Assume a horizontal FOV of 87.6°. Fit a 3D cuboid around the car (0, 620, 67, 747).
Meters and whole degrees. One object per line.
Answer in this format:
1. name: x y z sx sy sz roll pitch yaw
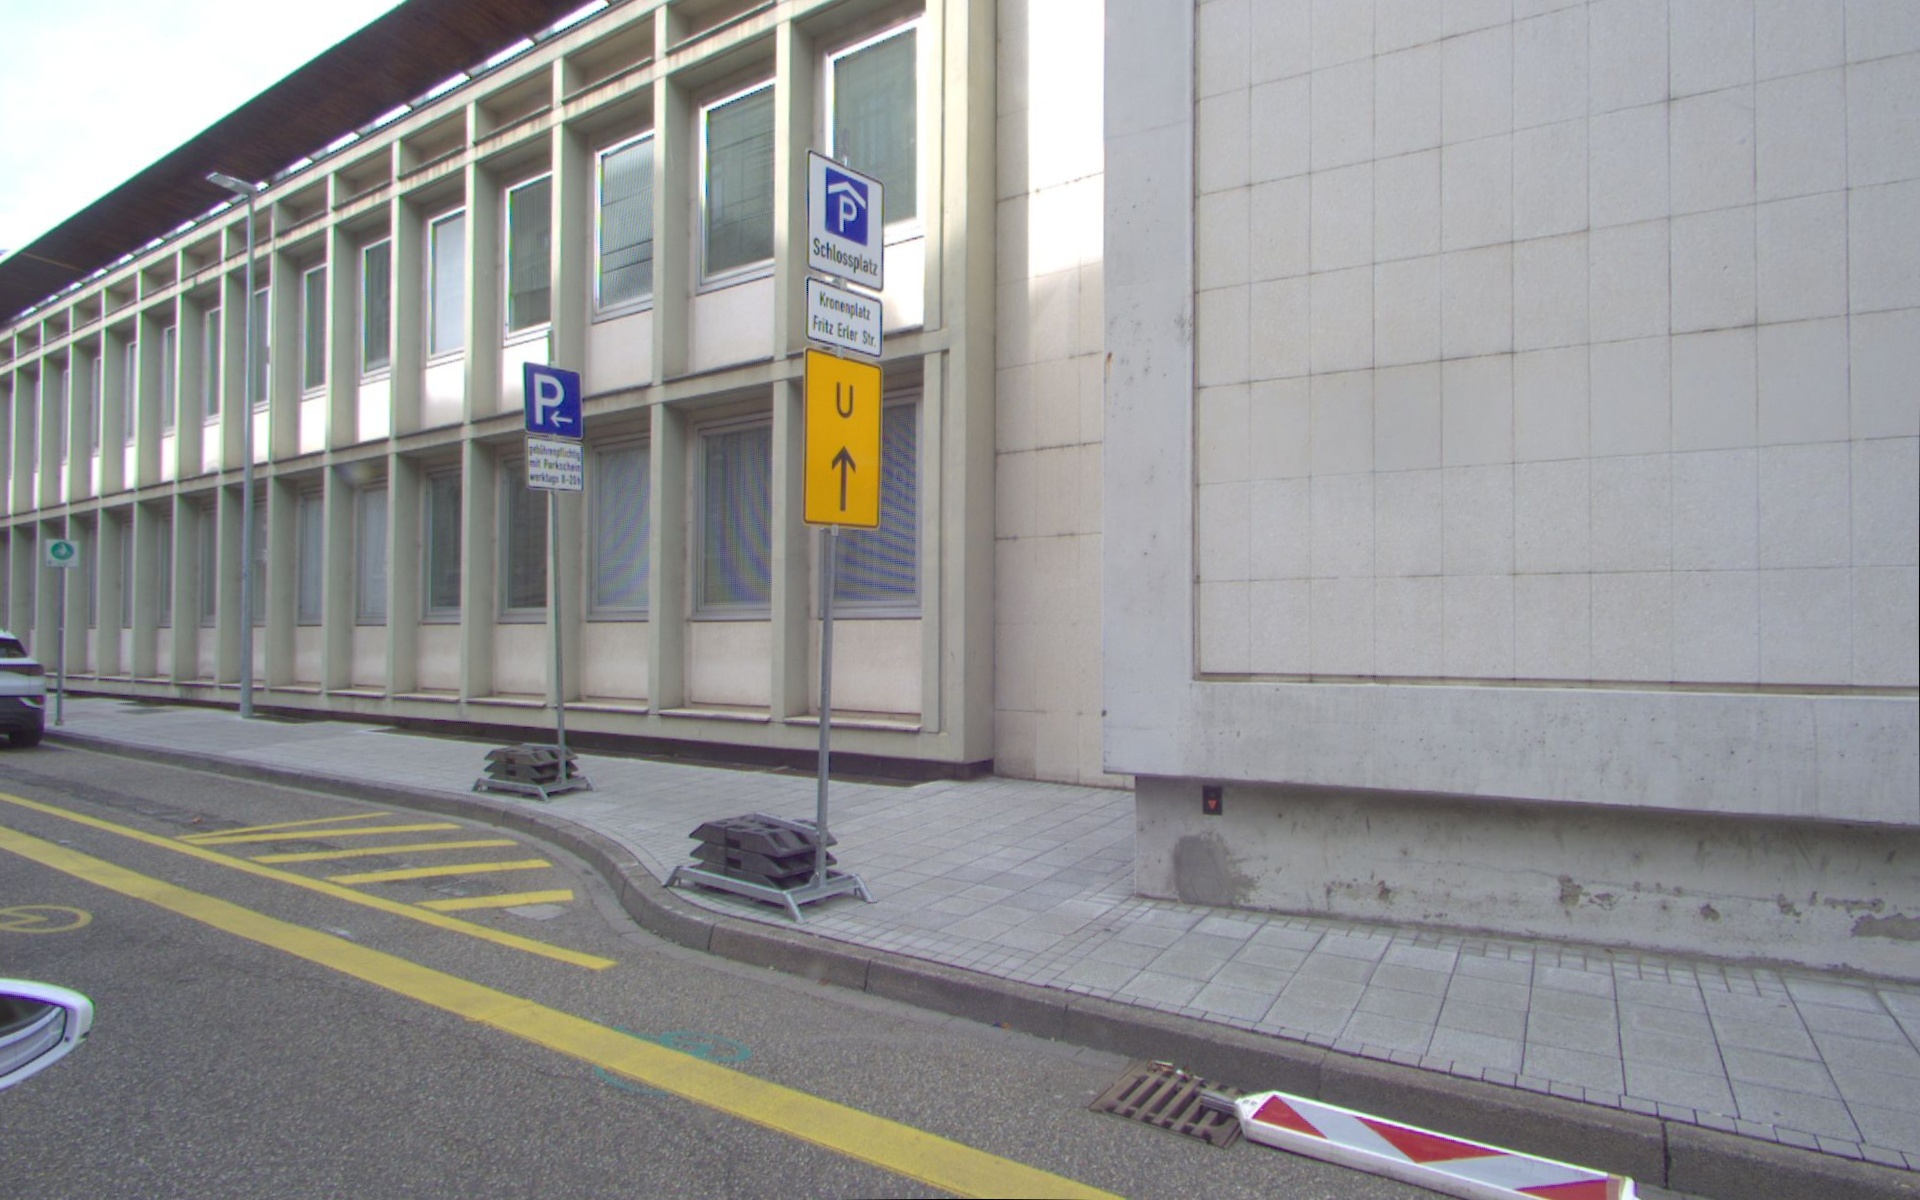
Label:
1. car: -14.381 1.101 13.959 4.452 1.624 1.857 -1 -5 35
